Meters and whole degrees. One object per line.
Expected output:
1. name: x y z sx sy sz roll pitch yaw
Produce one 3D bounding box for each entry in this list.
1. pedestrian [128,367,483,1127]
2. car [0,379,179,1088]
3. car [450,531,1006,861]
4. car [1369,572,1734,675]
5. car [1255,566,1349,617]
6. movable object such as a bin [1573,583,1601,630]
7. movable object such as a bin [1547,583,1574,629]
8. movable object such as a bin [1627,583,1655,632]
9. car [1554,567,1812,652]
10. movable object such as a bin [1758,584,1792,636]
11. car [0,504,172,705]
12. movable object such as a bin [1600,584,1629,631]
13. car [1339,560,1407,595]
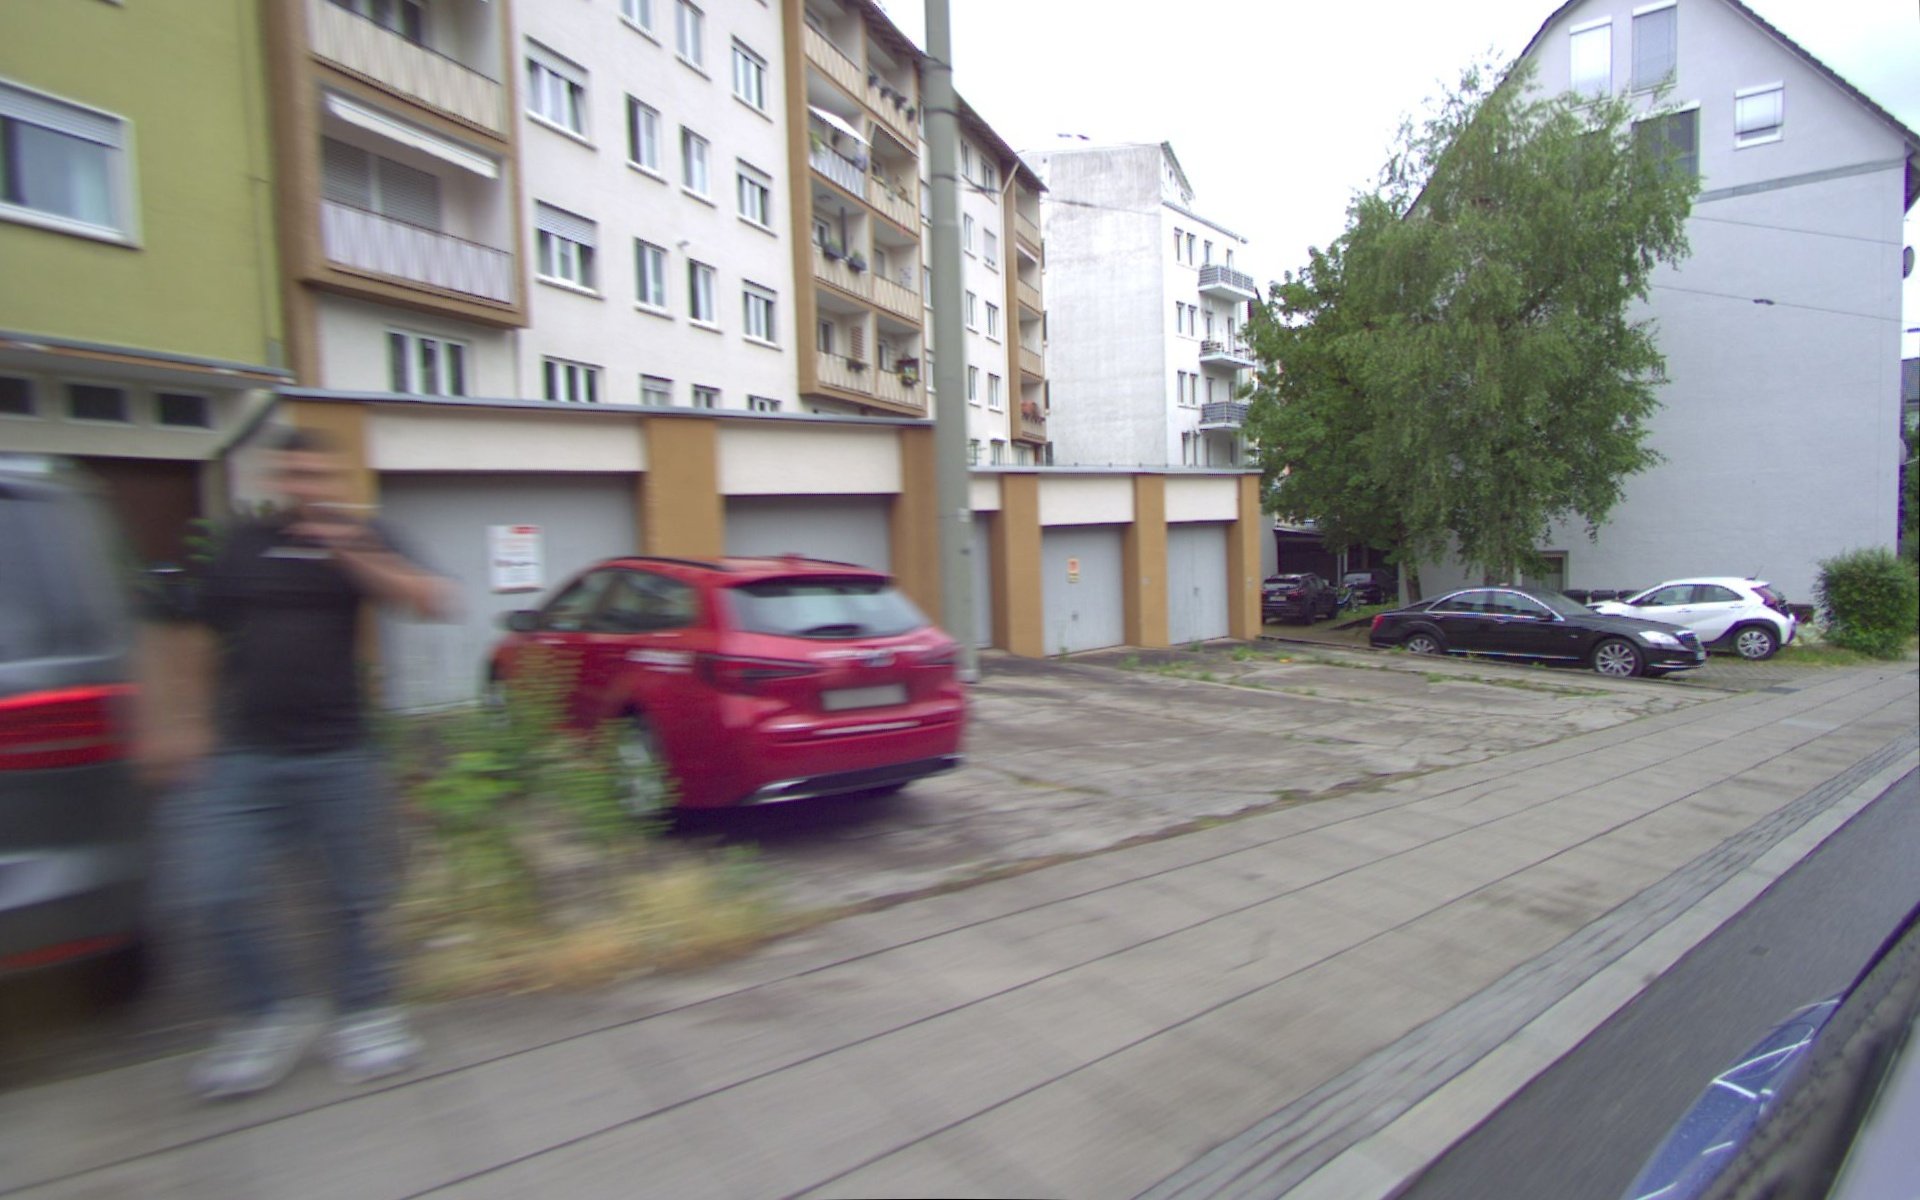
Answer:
1. pedestrian: -1.705 0.331 2.729 0.706 1.735 0.610 1 3 -27
2. car: -4.048 0.201 3.771 1.747 1.694 4.342 1 2 -38
3. car: -1.885 0.293 6.776 1.734 1.455 4.580 -1 4 -40
4. car: 9.727 0.312 17.037 1.939 1.454 4.942 -2 1 -39
5. car: 11.153 -0.274 32.862 1.681 1.530 3.945 0 0 38
6. movable object such as a bin: 15.401 0.161 24.864 0.514 1.126 0.634 2 1 37
7. movable object such as a bin: 14.933 0.143 25.166 0.514 1.126 0.634 2 1 37
8. movable object such as a bin: 16.317 0.172 24.248 0.514 1.126 0.634 2 1 37
9. car: 14.459 0.100 20.384 1.788 1.484 3.990 -2 3 -44
10. movable object such as a bin: 18.264 0.216 22.681 0.532 1.154 0.693 0 0 34
11. car: -8.133 -0.091 8.957 1.749 1.417 4.525 -4 6 -38
12. movable object such as a bin: 15.853 0.172 24.509 0.514 1.126 0.634 2 1 37
13. car: 16.904 -0.886 41.319 1.646 1.353 3.787 0 0 38
